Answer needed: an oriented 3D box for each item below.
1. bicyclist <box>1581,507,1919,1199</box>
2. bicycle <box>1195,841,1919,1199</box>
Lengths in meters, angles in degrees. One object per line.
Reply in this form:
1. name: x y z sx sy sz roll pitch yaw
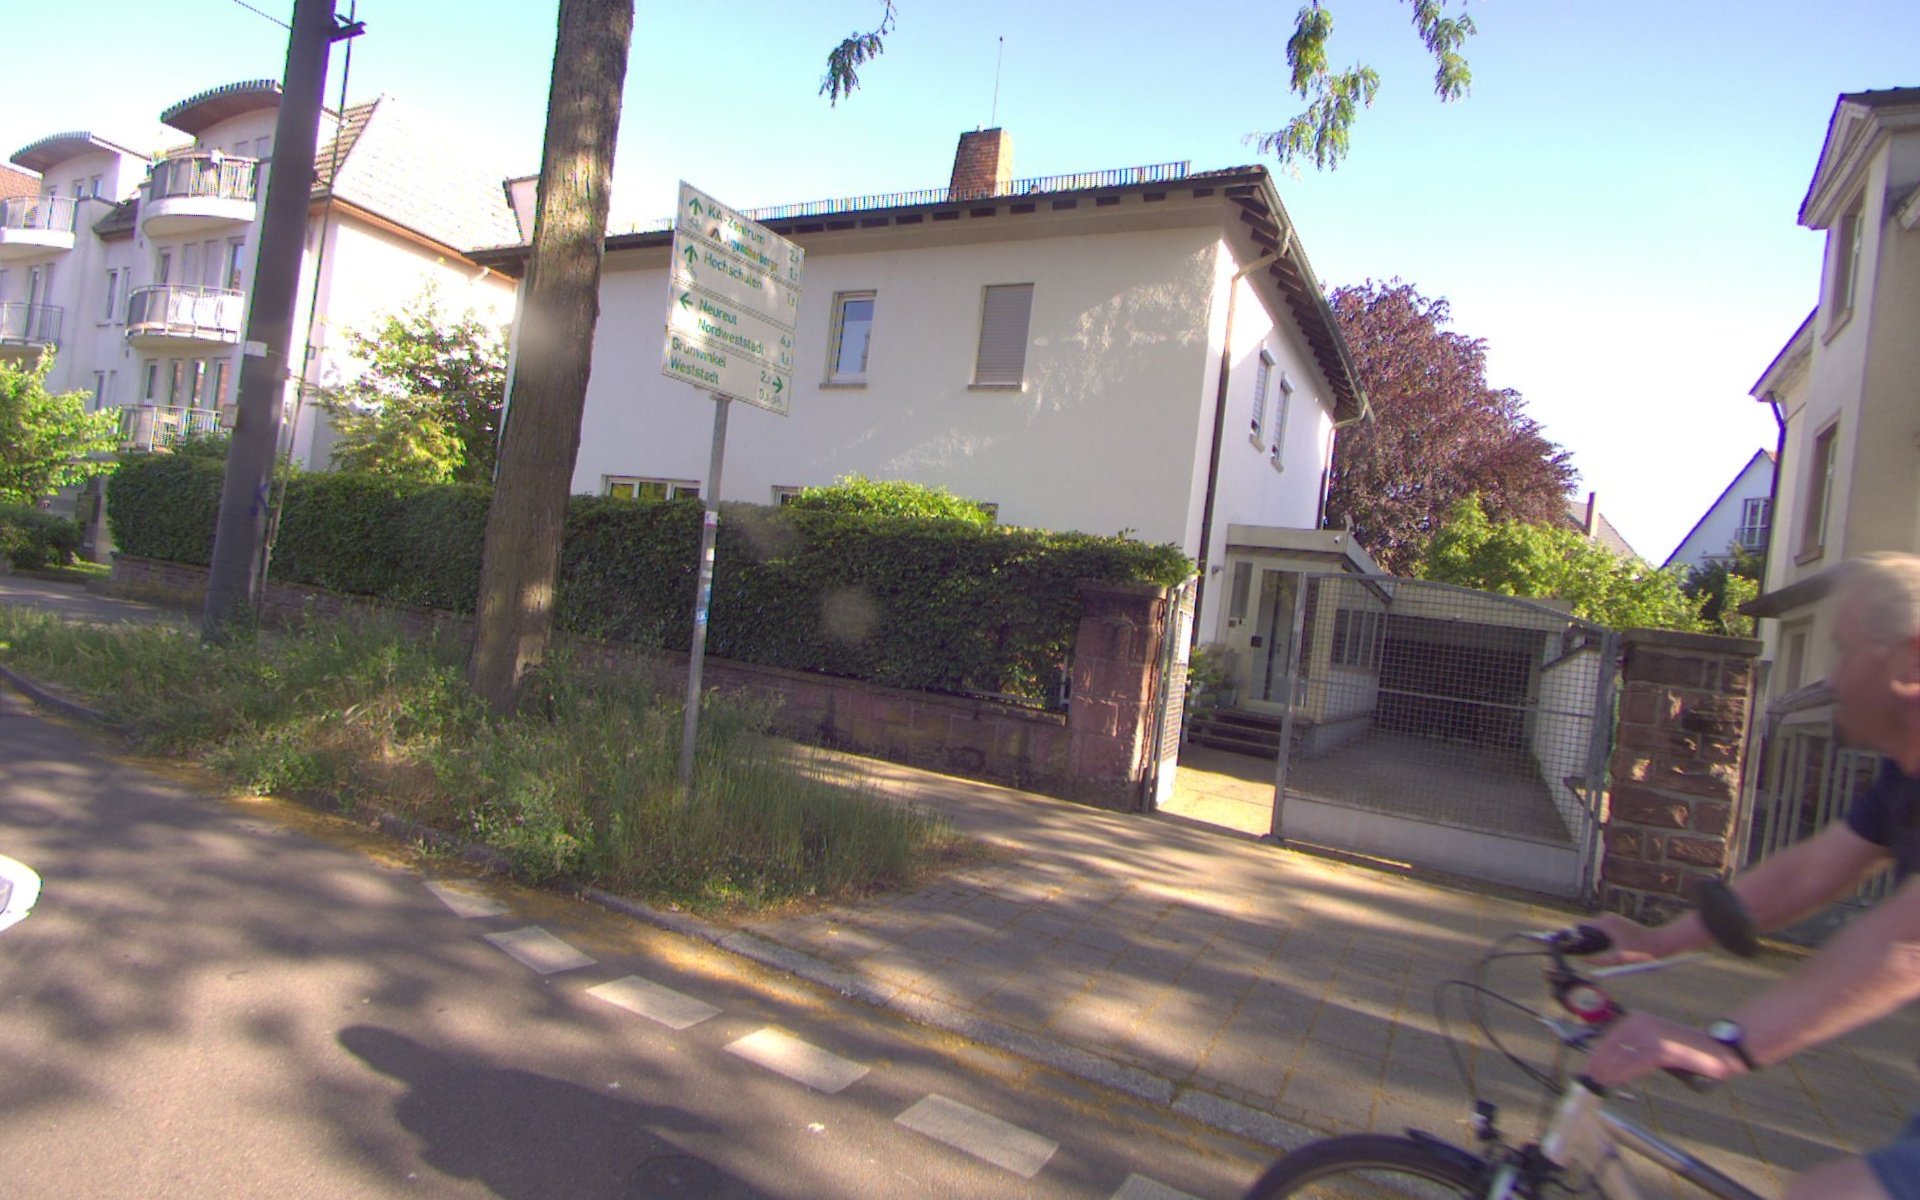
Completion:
1. bicyclist: 1.330 0.761 1.454 0.654 1.660 0.643 6 -1 31
2. bicycle: 1.303 1.139 1.427 1.824 1.125 0.588 7 -1 32
